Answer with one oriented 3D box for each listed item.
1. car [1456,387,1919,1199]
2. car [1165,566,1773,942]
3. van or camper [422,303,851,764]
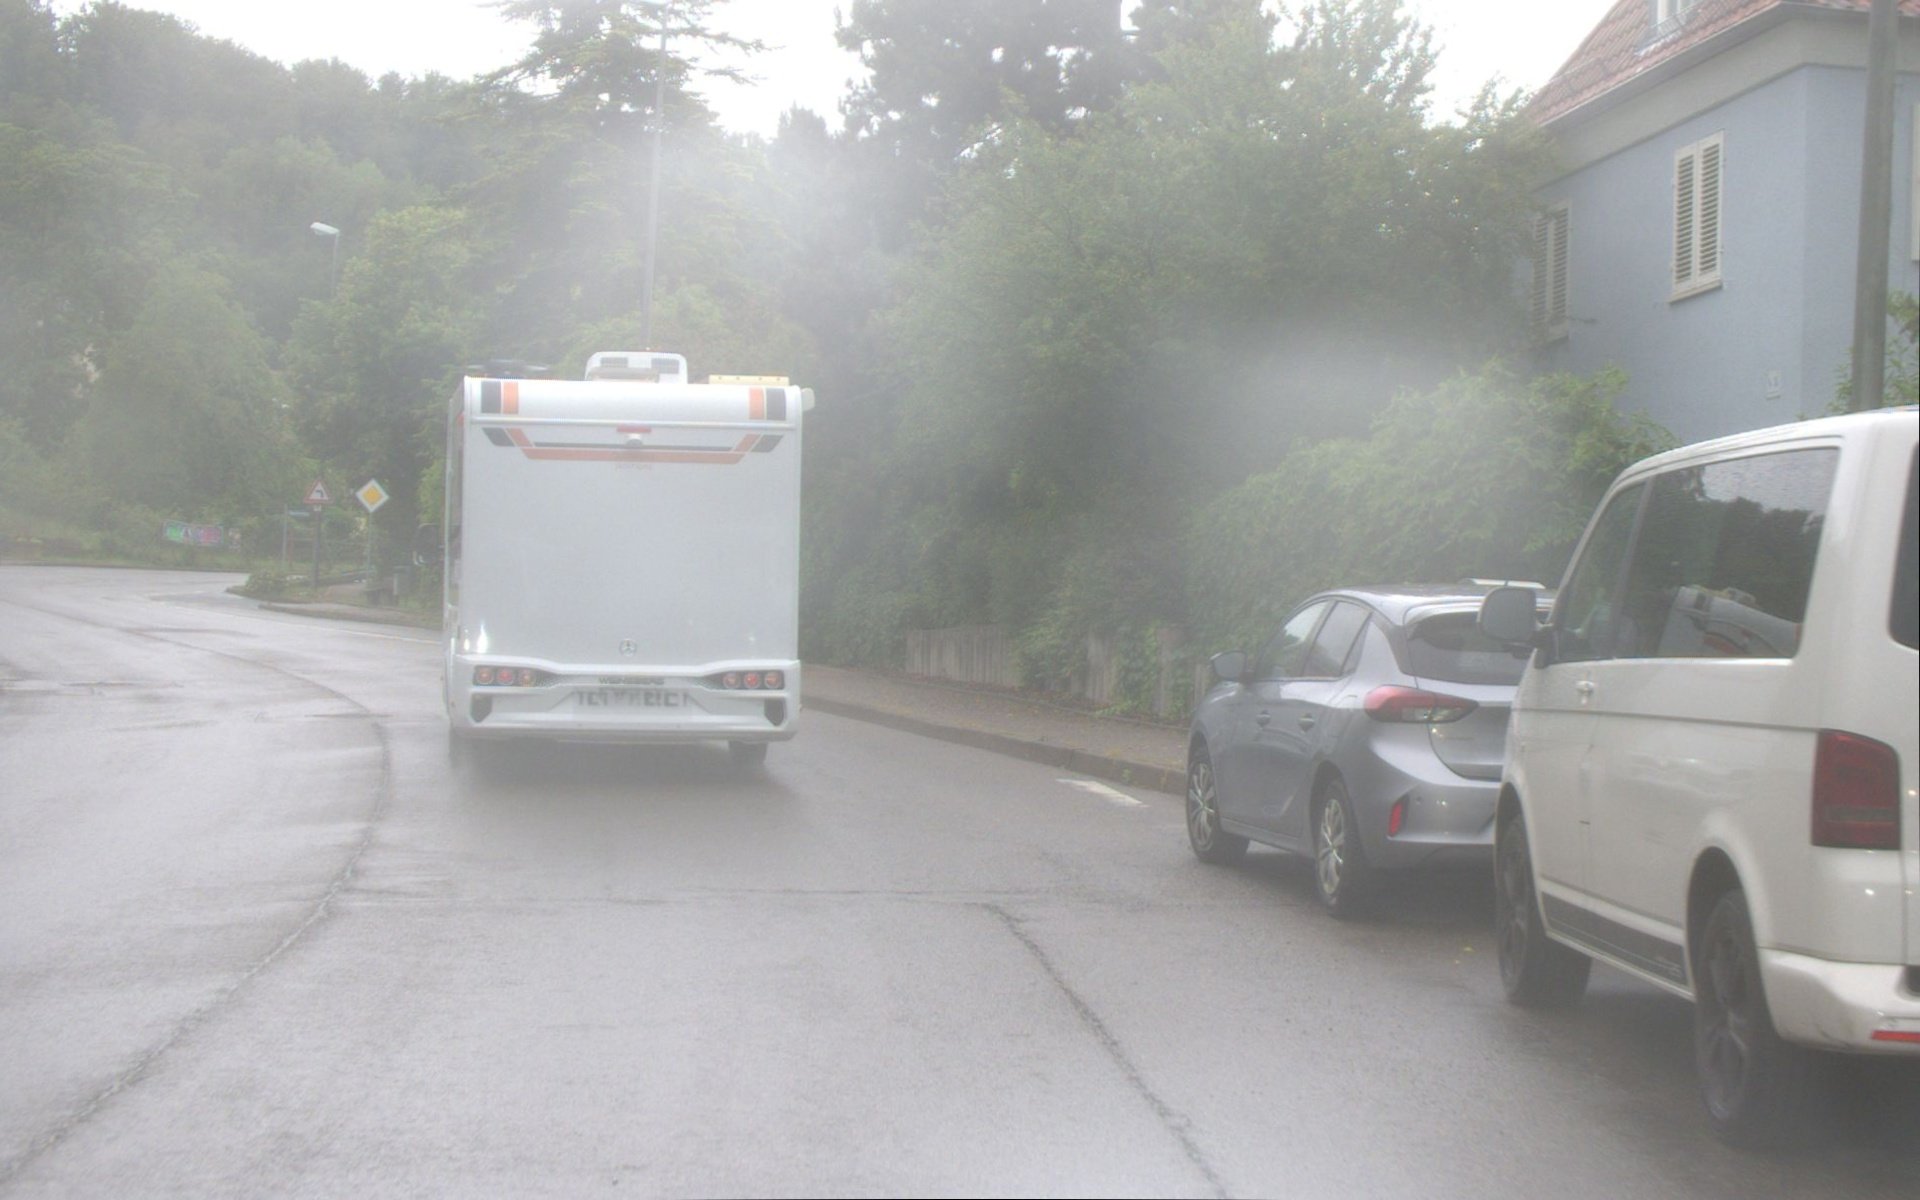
[{"bbox_3d":[2.895,0.458,10.411,1.860,1.914,5.080,2,1,-1],"label":"car"},{"bbox_3d":[2.219,0.618,16.119,1.685,1.452,4.059,2,1,-8],"label":"car"},{"bbox_3d":[-2.530,-0.400,25.100,2.615,2.843,6.032,3,-1,-9],"label":"van or camper"}]
